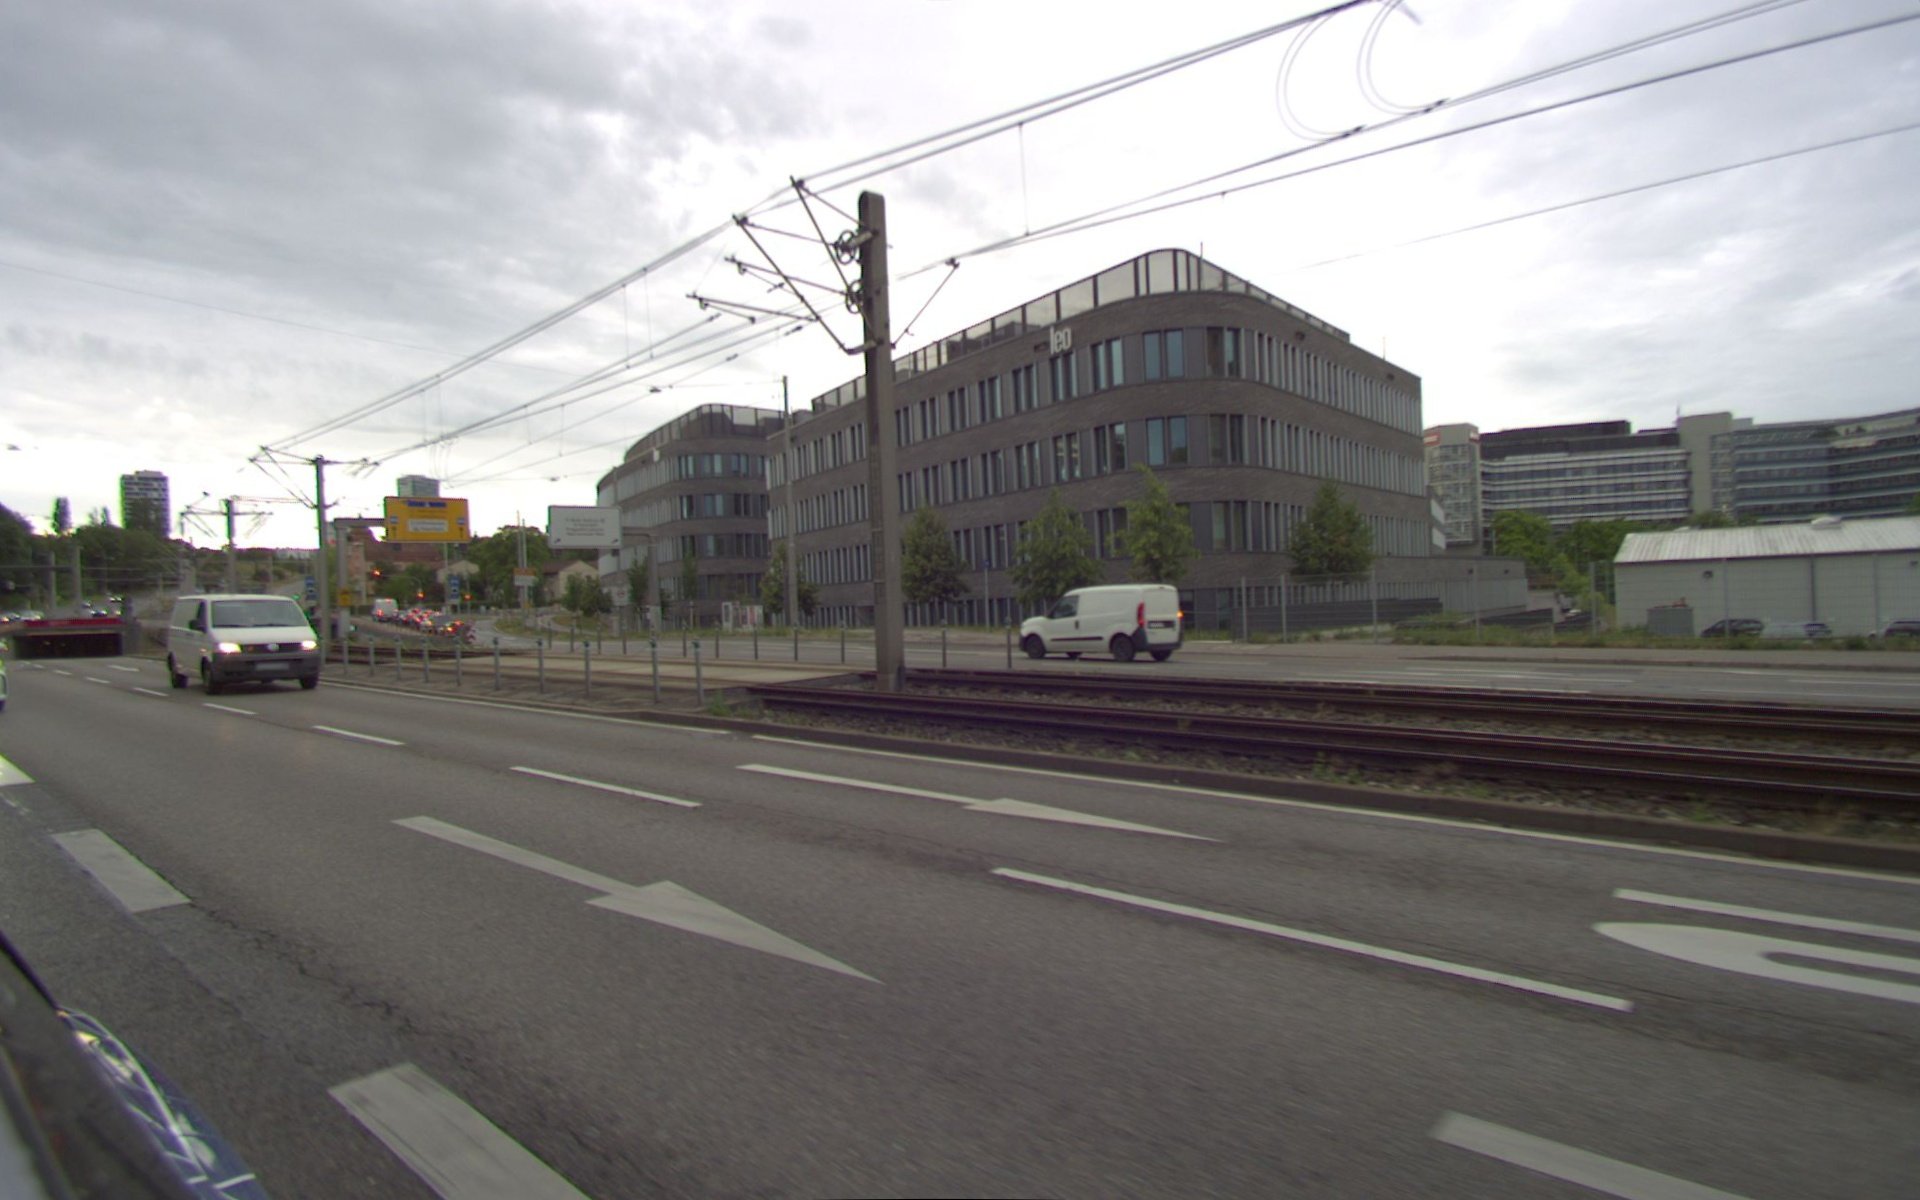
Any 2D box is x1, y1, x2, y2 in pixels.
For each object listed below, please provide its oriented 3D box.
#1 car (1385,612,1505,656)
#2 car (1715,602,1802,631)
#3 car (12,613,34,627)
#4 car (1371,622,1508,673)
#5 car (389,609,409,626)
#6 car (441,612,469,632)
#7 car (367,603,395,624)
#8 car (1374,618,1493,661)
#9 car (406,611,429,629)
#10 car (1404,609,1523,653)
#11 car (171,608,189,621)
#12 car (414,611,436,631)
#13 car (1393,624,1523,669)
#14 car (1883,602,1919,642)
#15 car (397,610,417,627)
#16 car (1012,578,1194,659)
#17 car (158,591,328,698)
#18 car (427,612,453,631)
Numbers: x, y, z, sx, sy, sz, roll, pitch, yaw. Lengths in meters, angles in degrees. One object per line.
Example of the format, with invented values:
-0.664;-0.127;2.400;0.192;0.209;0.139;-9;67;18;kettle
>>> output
18.367;1.252;38.381;3.787;1.556;1.722;-1;0;41;car
47.020;0.963;59.692;3.994;1.666;1.724;-1;0;38;car
-137.992;2.882;148.969;3.998;2.029;1.973;-1;0;41;car
14.844;1.419;31.403;3.567;1.447;1.525;-1;0;41;car
-65.906;2.028;118.913;1.643;1.918;4.010;0;0;-36;car
-47.009;2.042;94.206;1.807;1.811;4.226;0;-2;-34;car
-70.960;1.668;124.013;2.301;2.486;7.043;0;0;-36;car
16.824;1.373;36.064;3.567;1.393;1.525;-1;0;41;car
-57.613;2.114;107.402;1.644;1.918;4.009;0;0;-36;car
20.281;1.205;40.823;3.998;1.666;1.722;-1;0;41;car
-117.924;2.181;152.998;1.968;1.962;4.007;0;0;-40;car
-53.895;2.082;101.950;1.643;1.918;4.011;0;0;-32;car
16.409;1.495;33.428;3.567;1.345;1.601;-1;0;41;car
42.705;0.943;45.075;3.936;1.666;1.750;-1;0;-38;car
-61.565;2.091;112.642;1.643;1.833;4.010;0;0;-34;car
3.457;0.473;24.961;1.810;1.811;4.218;1;-2;-44;car
-15.023;0.866;21.104;4.716;1.973;1.889;-1;0;42;car
-50.493;2.087;98.227;1.807;1.811;4.226;0;-2;-34;car
